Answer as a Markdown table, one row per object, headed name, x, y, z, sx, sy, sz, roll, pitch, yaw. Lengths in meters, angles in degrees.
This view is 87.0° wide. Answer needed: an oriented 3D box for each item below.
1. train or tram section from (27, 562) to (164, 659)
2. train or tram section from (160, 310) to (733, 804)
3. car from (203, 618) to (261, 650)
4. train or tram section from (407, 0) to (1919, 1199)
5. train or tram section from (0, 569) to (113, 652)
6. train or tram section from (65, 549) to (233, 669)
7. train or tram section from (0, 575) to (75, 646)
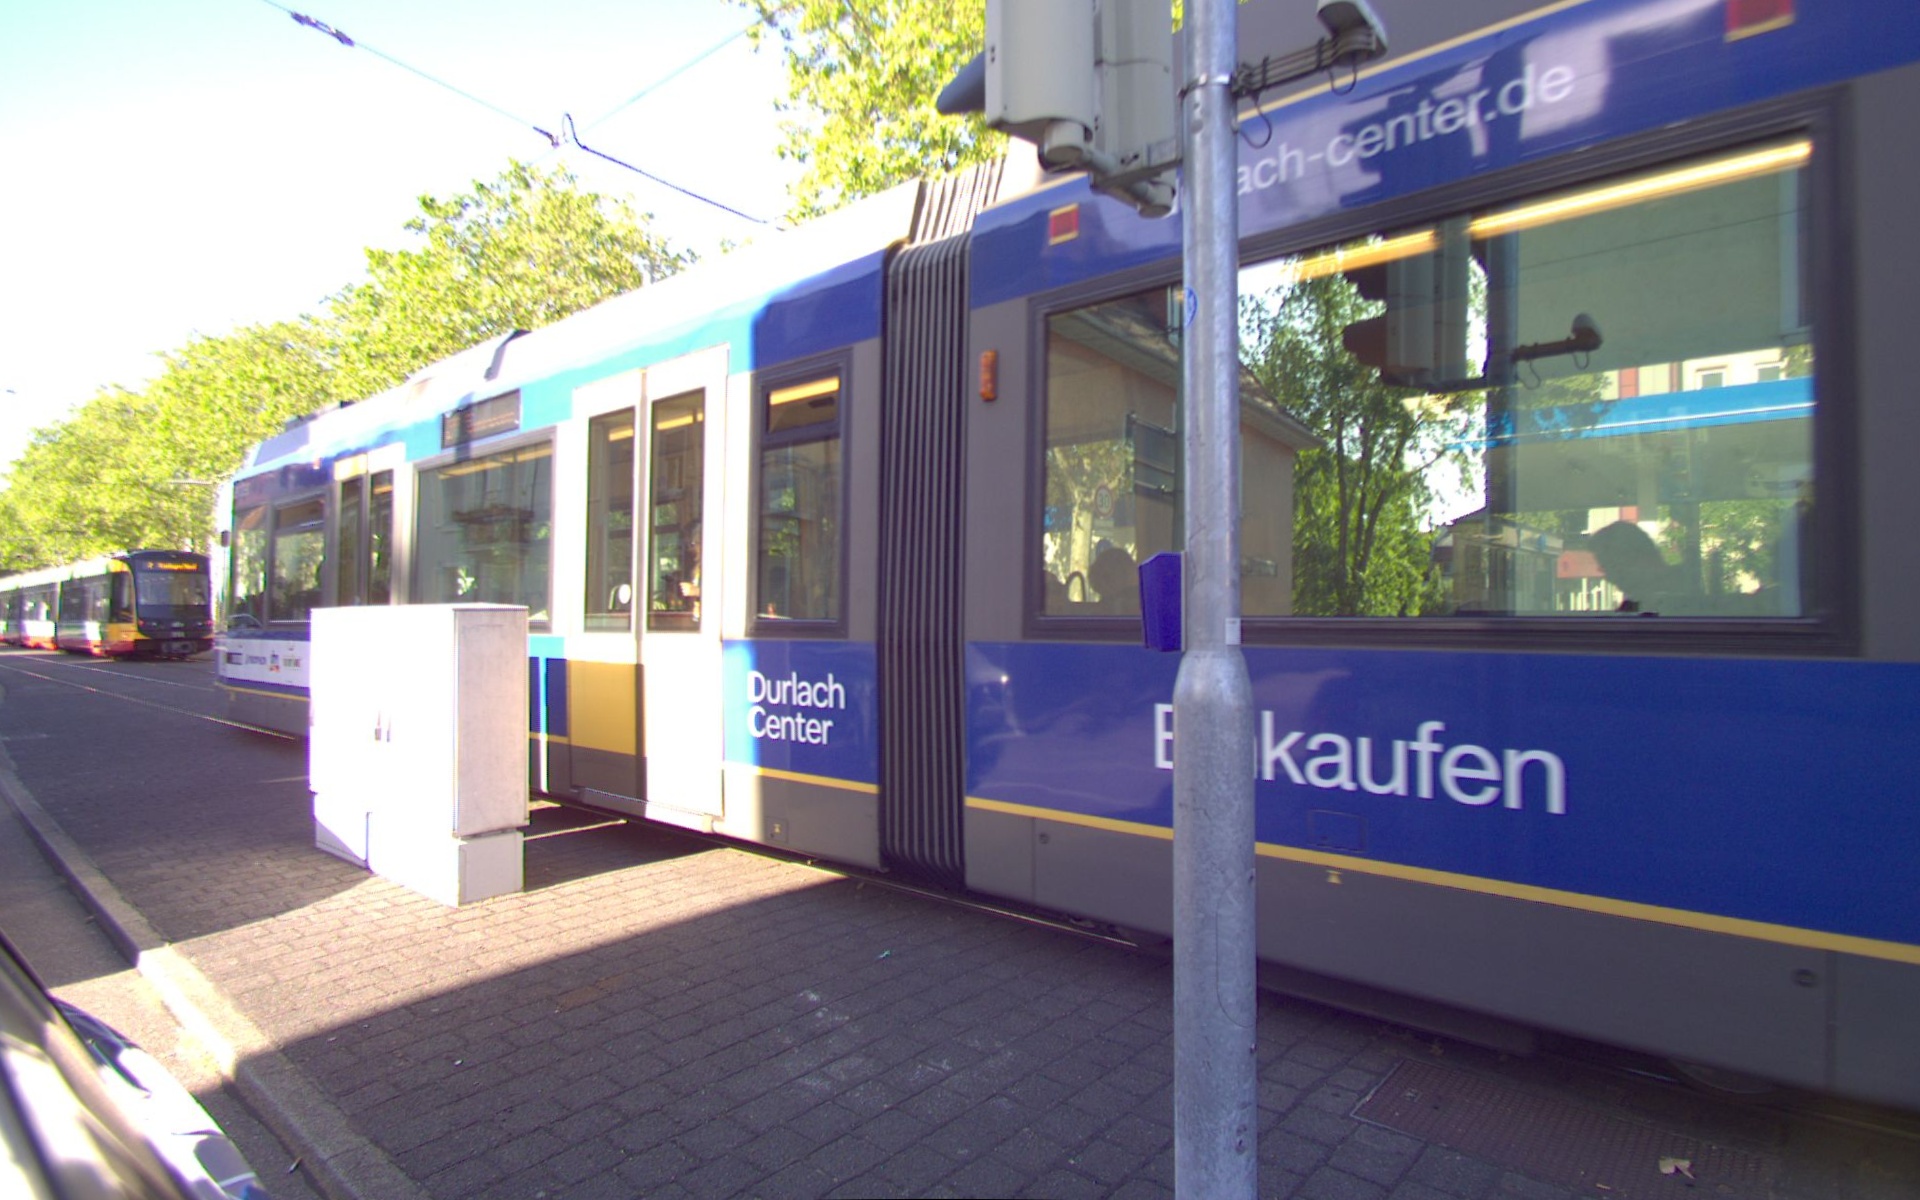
| name | x | y | z | sx | sy | sz | roll | pitch | yaw |
| --- | --- | --- | --- | --- | --- | --- | --- | --- | --- |
| train or tram section | -34.948 | 0.416 | 40.720 | 10.179 | 3.503 | 2.806 | -1 | 0 | 42 |
| train or tram section | -5.978 | -0.224 | 10.905 | 7.959 | 3.526 | 2.785 | -2 | -2 | 41 |
| car | -40.652 | 1.885 | 56.484 | 4.098 | 1.628 | 1.821 | -1 | 1 | 44 |
| train or tram section | 0.112 | -0.401 | 5.528 | 8.458 | 3.526 | 2.785 | -2 | -2 | 41 |
| train or tram section | -42.571 | 0.477 | 47.496 | 10.179 | 3.503 | 2.806 | -1 | 0 | 41 |
| train or tram section | -27.377 | 0.292 | 33.922 | 10.181 | 3.503 | 2.824 | -1 | 0 | 42 |
| train or tram section | -50.139 | 0.557 | 54.242 | 10.179 | 3.503 | 2.806 | -1 | 0 | 41 |
